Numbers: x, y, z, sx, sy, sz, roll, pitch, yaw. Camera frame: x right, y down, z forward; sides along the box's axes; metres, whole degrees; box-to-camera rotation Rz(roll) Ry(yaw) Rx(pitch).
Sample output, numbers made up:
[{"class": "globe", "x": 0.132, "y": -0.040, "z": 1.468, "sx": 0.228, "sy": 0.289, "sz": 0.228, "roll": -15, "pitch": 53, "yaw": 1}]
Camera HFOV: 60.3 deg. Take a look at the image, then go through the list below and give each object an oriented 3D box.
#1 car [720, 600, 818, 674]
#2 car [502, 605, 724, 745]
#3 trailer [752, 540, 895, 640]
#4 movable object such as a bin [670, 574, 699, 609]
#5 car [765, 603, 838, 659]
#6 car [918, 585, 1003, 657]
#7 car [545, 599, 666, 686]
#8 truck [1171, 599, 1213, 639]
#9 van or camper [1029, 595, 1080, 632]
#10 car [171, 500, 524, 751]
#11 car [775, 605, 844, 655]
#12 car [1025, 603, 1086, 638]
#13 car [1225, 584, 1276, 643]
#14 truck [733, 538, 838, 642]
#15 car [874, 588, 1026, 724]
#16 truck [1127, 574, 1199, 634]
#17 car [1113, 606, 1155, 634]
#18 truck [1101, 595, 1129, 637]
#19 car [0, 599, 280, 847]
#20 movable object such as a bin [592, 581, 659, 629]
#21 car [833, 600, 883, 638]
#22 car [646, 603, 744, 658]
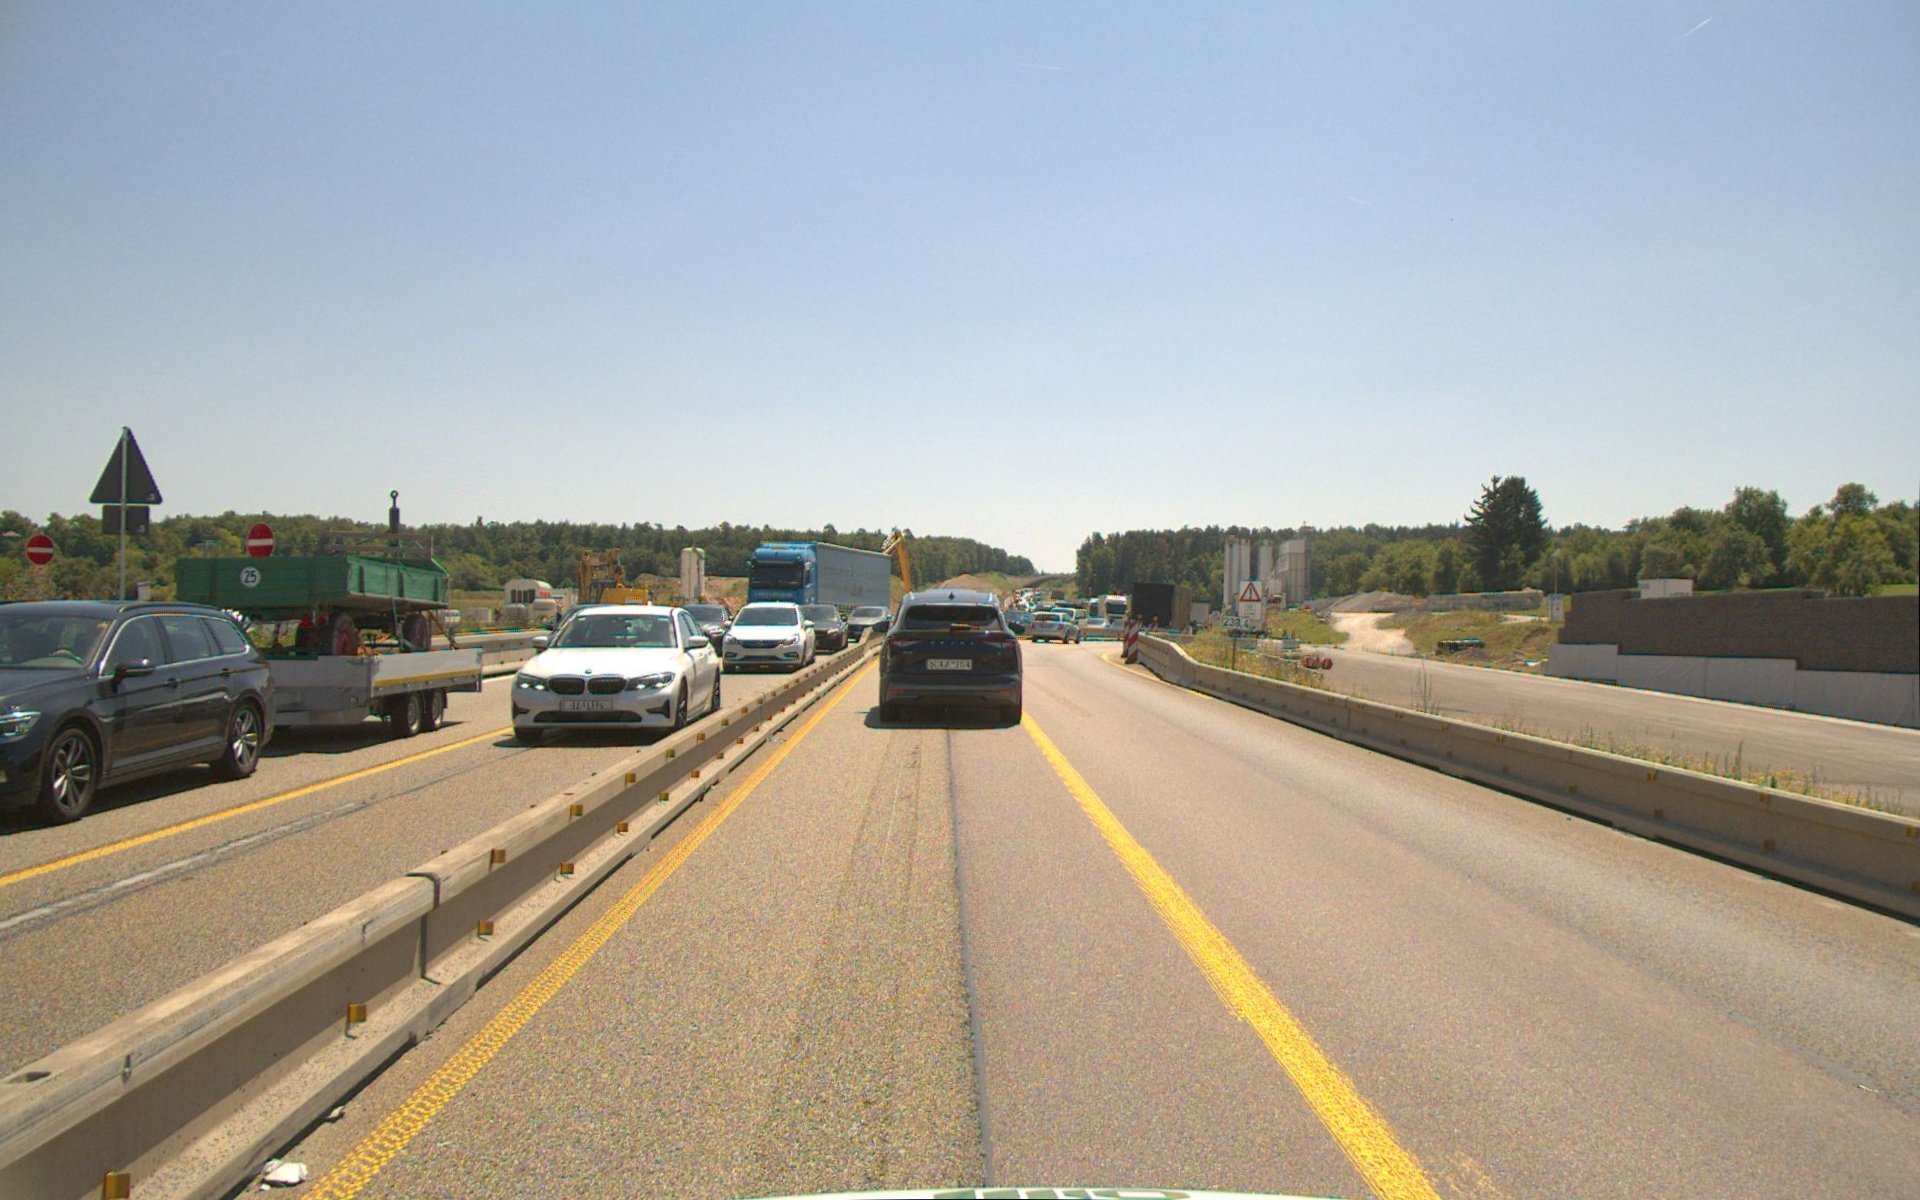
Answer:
[{"class": "car", "x": -4.168, "y": 0.774, "z": 36.692, "sx": 1.698, "sy": 1.504, "sz": 4.519, "roll": 0, "pitch": 0, "yaw": -1}, {"class": "car", "x": -3.875, "y": 0.776, "z": 19.154, "sx": 1.779, "sy": 1.400, "sz": 4.246, "roll": 0, "pitch": 0, "yaw": -1}, {"class": "trailer", "x": -6.060, "y": -0.383, "z": 76.771, "sx": 2.852, "sy": 4.201, "sz": 13.927, "roll": 1, "pitch": 0, "yaw": 11}, {"class": "movable object such as a bin", "x": -26.936, "y": -0.868, "z": 161.701, "sx": 2.379, "sy": 3.180, "sz": 5.467, "roll": 5, "pitch": 0, "yaw": -11}, {"class": "car", "x": -4.381, "y": 0.828, "z": 46.277, "sx": 1.738, "sy": 1.452, "sz": 4.768, "roll": -1, "pitch": 0, "yaw": -2}, {"class": "car", "x": 0.064, "y": 0.583, "z": 47.228, "sx": 1.951, "sy": 1.876, "sz": 4.003, "roll": 2, "pitch": 0, "yaw": 6}, {"class": "car", "x": -7.269, "y": 0.833, "z": 34.242, "sx": 1.731, "sy": 1.625, "sz": 3.999, "roll": 0, "pitch": 1, "yaw": -1}, {"class": "truck", "x": 27.253, "y": 2.181, "z": 194.695, "sx": 3.405, "sy": 4.292, "sz": 10.380, "roll": 6, "pitch": 0, "yaw": 2}, {"class": "van or camper", "x": 6.828, "y": 0.985, "z": 118.614, "sx": 2.054, "sy": 2.586, "sz": 6.307, "roll": 0, "pitch": -1, "yaw": 18}, {"class": "car", "x": -6.900, "y": 0.223, "z": 19.569, "sx": 1.875, "sy": 2.441, "sz": 6.451, "roll": -1, "pitch": 0, "yaw": -1}, {"class": "car", "x": -4.951, "y": 0.958, "z": 55.037, "sx": 1.975, "sy": 1.469, "sz": 4.587, "roll": 0, "pitch": 1, "yaw": -1}, {"class": "car", "x": 4.604, "y": 0.947, "z": 79.410, "sx": 2.002, "sy": 1.553, "sz": 5.070, "roll": 1, "pitch": 1, "yaw": 14}, {"class": "car", "x": 22.884, "y": 1.090, "z": 129.949, "sx": 3.364, "sy": 4.171, "sz": 9.204, "roll": 5, "pitch": 0, "yaw": 12}, {"class": "truck", "x": -7.301, "y": -0.397, "z": 70.106, "sx": 2.852, "sy": 4.201, "sz": 6.143, "roll": 1, "pitch": 0, "yaw": 10}, {"class": "car", "x": -0.122, "y": 0.653, "z": 21.726, "sx": 1.805, "sy": 1.609, "sz": 4.000, "roll": 0, "pitch": 0, "yaw": 0}, {"class": "truck", "x": 10.736, "y": 0.246, "z": 87.079, "sx": 2.617, "sy": 2.997, "sz": 5.621, "roll": 1, "pitch": -1, "yaw": 19}, {"class": "car", "x": 10.783, "y": 1.253, "z": 102.460, "sx": 1.783, "sy": 1.673, "sz": 3.867, "roll": 2, "pitch": -1, "yaw": 18}, {"class": "truck", "x": 16.774, "y": 1.758, "z": 178.809, "sx": 2.713, "sy": 4.334, "sz": 6.201, "roll": 2, "pitch": 0, "yaw": 4}, {"class": "car", "x": -6.732, "y": 0.752, "z": 12.287, "sx": 1.653, "sy": 1.478, "sz": 4.334, "roll": 0, "pitch": 1, "yaw": -1}, {"class": "movable object such as a bin", "x": -21.462, "y": 0.333, "z": 105.954, "sx": 2.854, "sy": 2.774, "sz": 3.314, "roll": 4, "pitch": 0, "yaw": -41}, {"class": "car", "x": -4.097, "y": 0.742, "z": 66.979, "sx": 1.556, "sy": 1.466, "sz": 4.126, "roll": -1, "pitch": 0, "yaw": 3}, {"class": "car", "x": -7.547, "y": 0.844, "z": 47.545, "sx": 1.952, "sy": 1.423, "sz": 4.581, "roll": 2, "pitch": 0, "yaw": 1}]
